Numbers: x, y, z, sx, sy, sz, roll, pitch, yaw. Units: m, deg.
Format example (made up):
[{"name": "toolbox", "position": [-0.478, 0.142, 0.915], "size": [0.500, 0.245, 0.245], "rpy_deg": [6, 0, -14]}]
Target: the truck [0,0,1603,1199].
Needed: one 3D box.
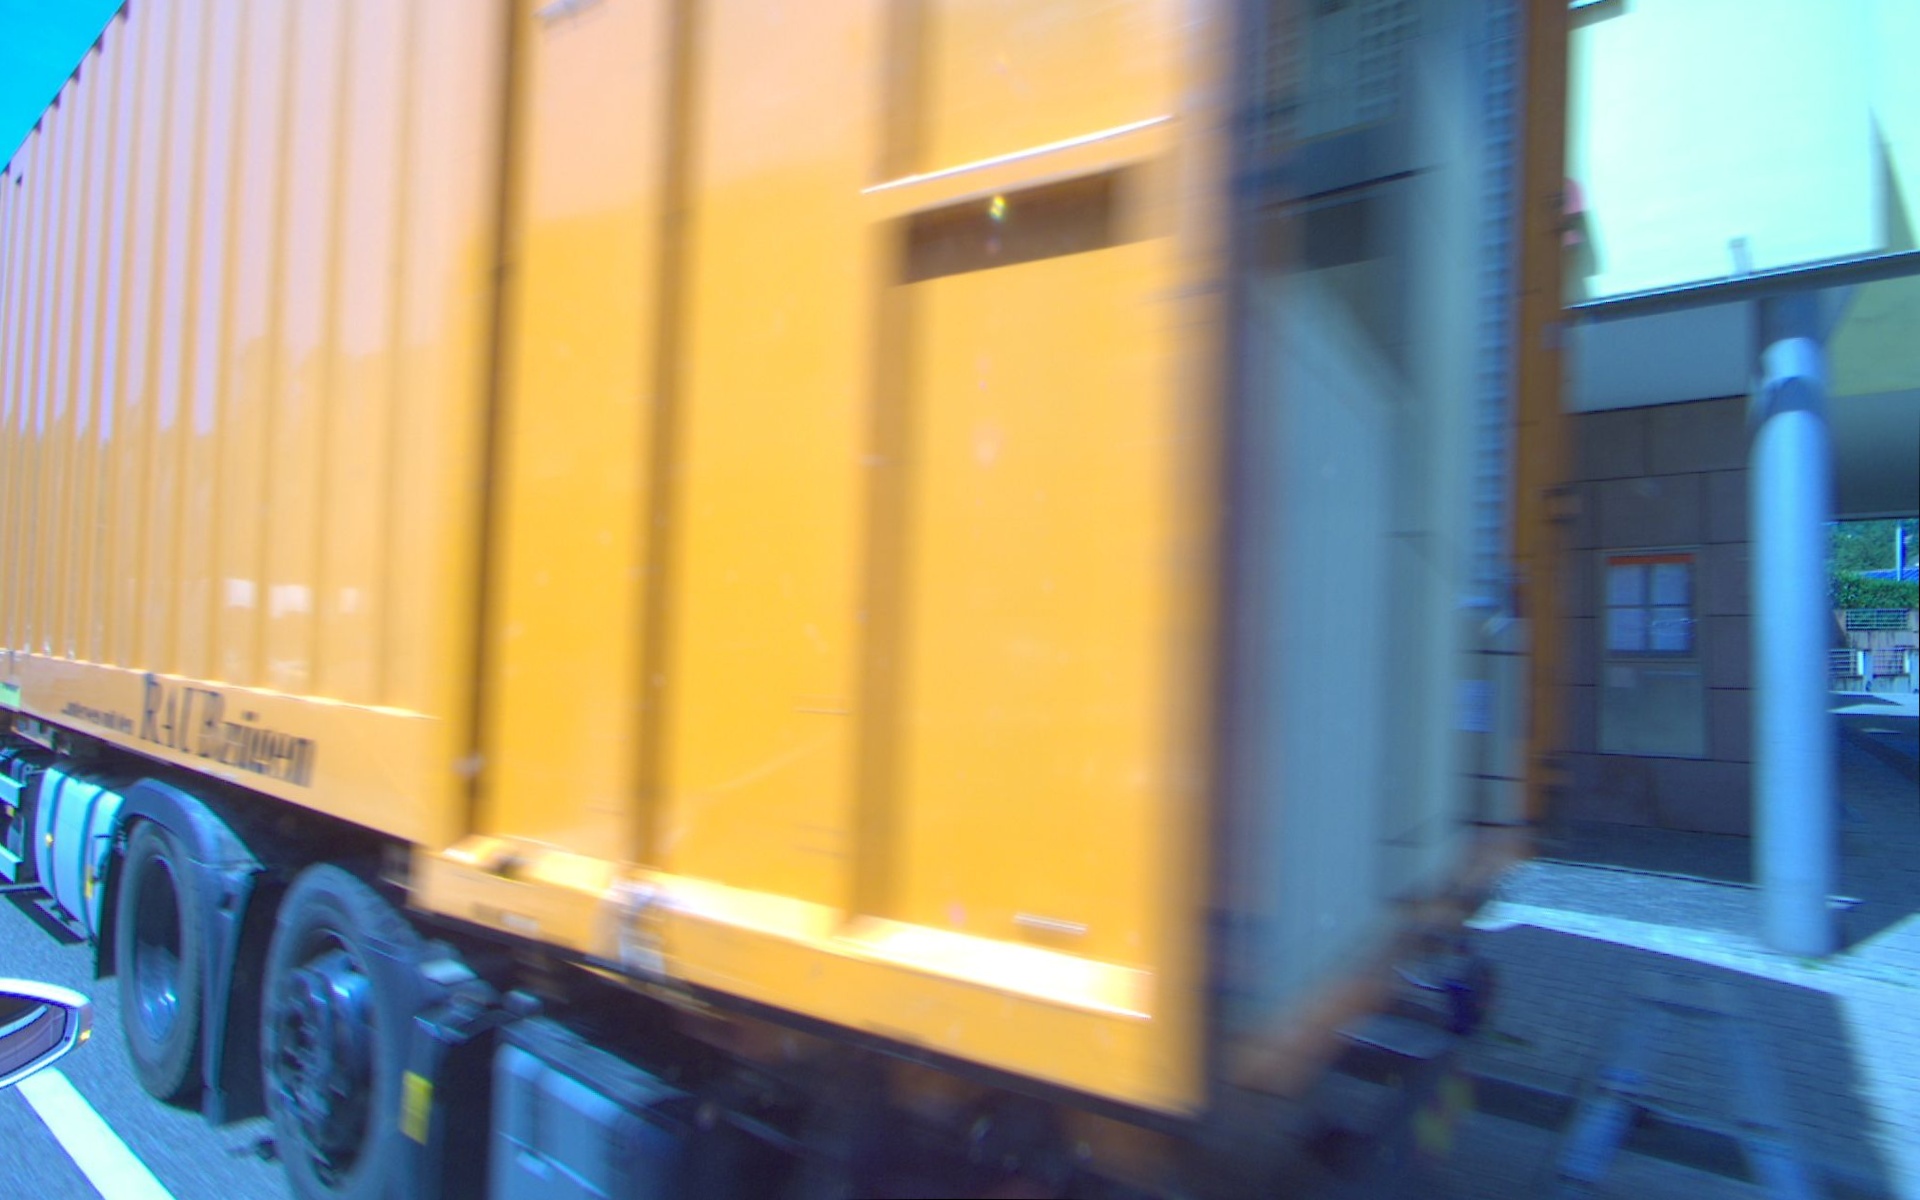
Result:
[{"name": "truck", "position": [-2.761, -0.370, 5.015], "size": [9.871, 3.996, 2.598], "rpy_deg": [-1, -2, 39]}]

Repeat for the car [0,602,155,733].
[{"name": "car", "position": [-13.940, 0.923, 15.131], "size": [4.052, 1.731, 1.984], "rpy_deg": [-1, 0, 40]}]
